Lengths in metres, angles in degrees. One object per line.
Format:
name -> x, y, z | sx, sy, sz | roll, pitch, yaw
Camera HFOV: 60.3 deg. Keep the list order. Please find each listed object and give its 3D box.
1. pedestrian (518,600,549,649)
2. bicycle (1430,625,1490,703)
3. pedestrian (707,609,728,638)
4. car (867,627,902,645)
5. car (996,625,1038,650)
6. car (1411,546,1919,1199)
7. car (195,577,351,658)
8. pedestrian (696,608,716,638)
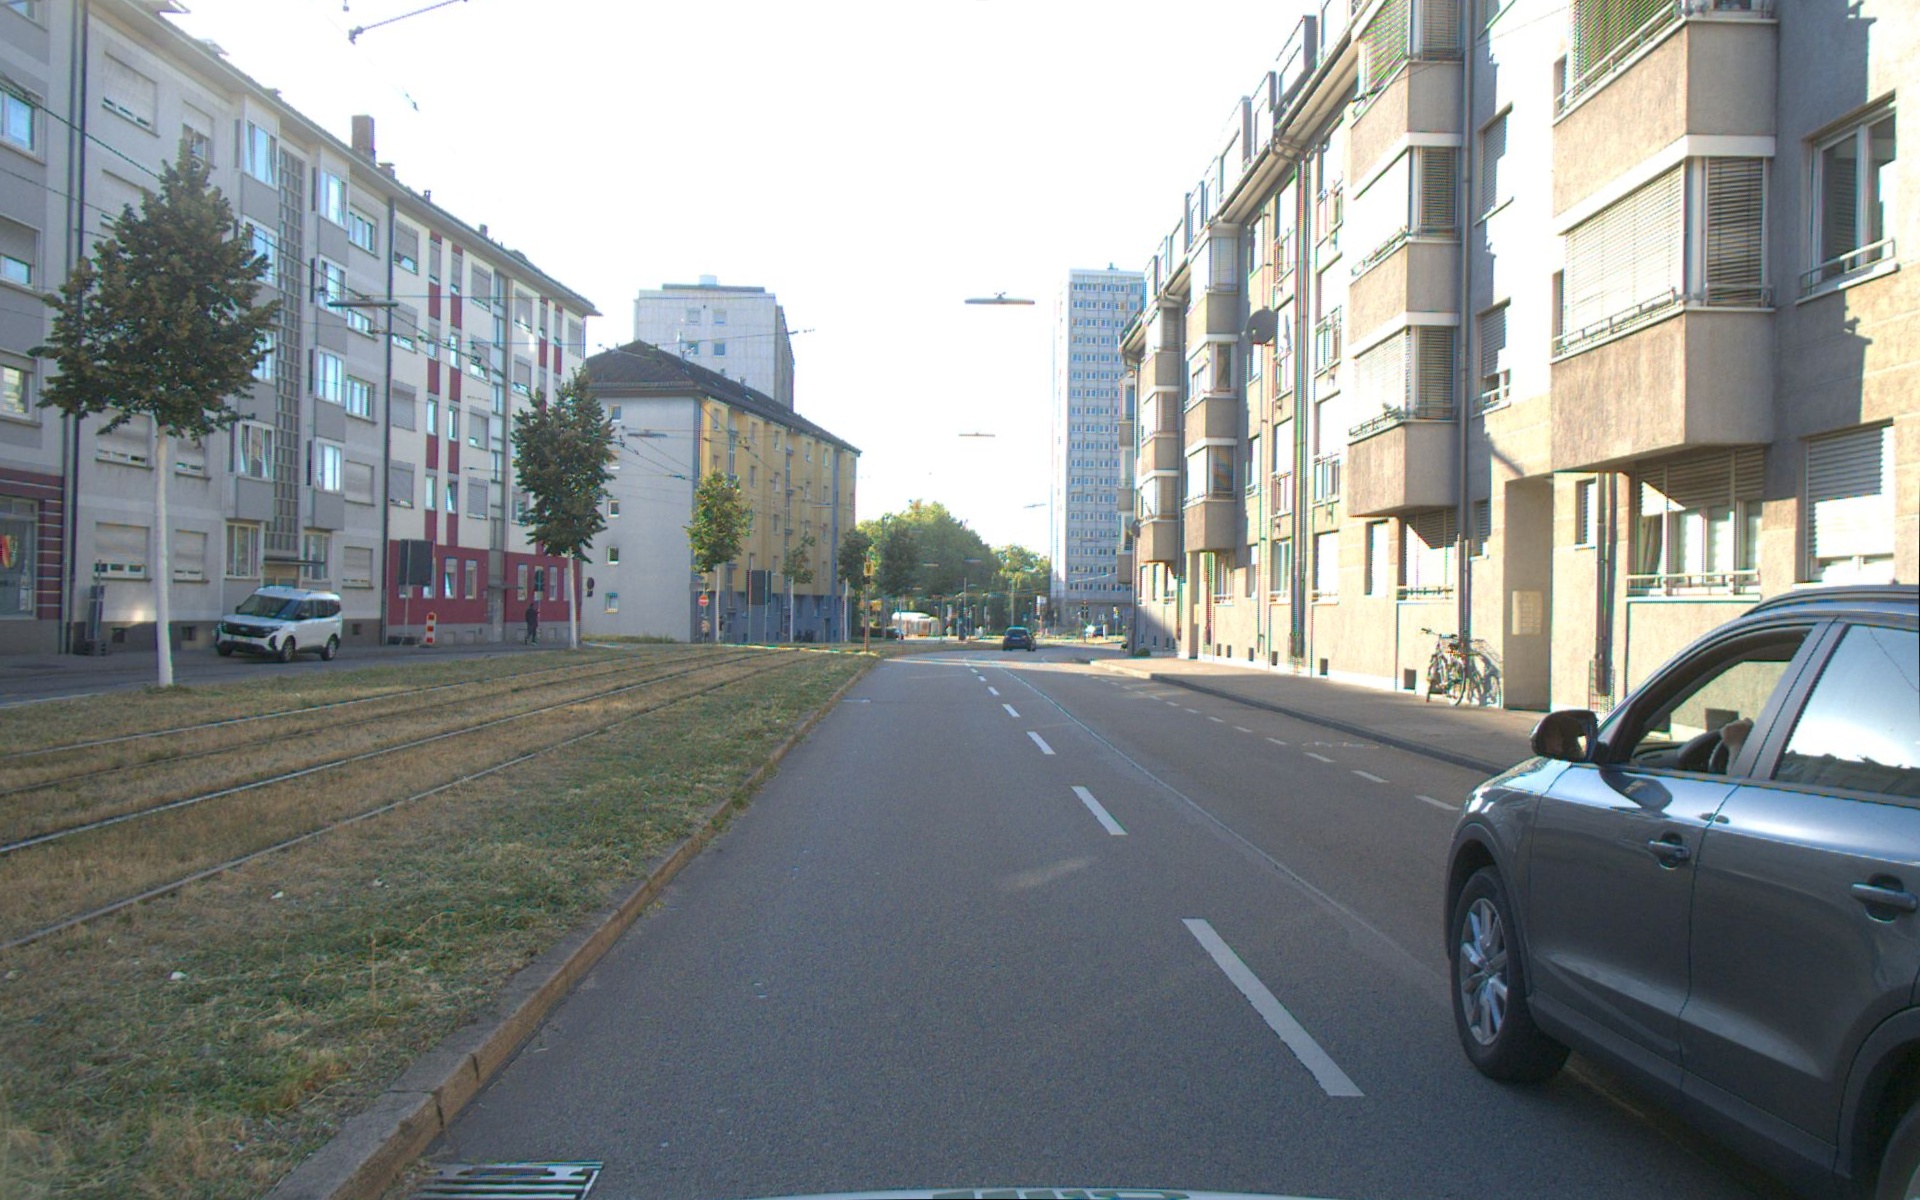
pedestrian -> -18.402, 1.047, 71.301 | 0.984, 2.071, 0.886 | 2, -1, 3
bicycle -> 7.418, 0.937, 24.593 | 0.376, 1.115, 1.503 | 0, -1, -3
pedestrian -> -14.572, 1.411, 99.393 | 0.942, 1.699, 1.011 | 2, -1, 4
car -> -8.822, 4.249, 193.257 | 3.903, 2.049, 2.001 | 0, 0, 4
car -> 3.580, 2.328, 102.857 | 1.885, 1.481, 4.331 | 2, -1, 12
car -> 2.579, 0.742, 4.165 | 1.663, 1.580, 4.224 | 2, -1, -1
car -> -17.998, 0.486, 43.607 | 1.952, 1.958, 4.543 | 2, -1, 3
pedestrian -> -15.283, 1.375, 99.432 | 0.942, 1.723, 1.011 | 2, -1, 4
